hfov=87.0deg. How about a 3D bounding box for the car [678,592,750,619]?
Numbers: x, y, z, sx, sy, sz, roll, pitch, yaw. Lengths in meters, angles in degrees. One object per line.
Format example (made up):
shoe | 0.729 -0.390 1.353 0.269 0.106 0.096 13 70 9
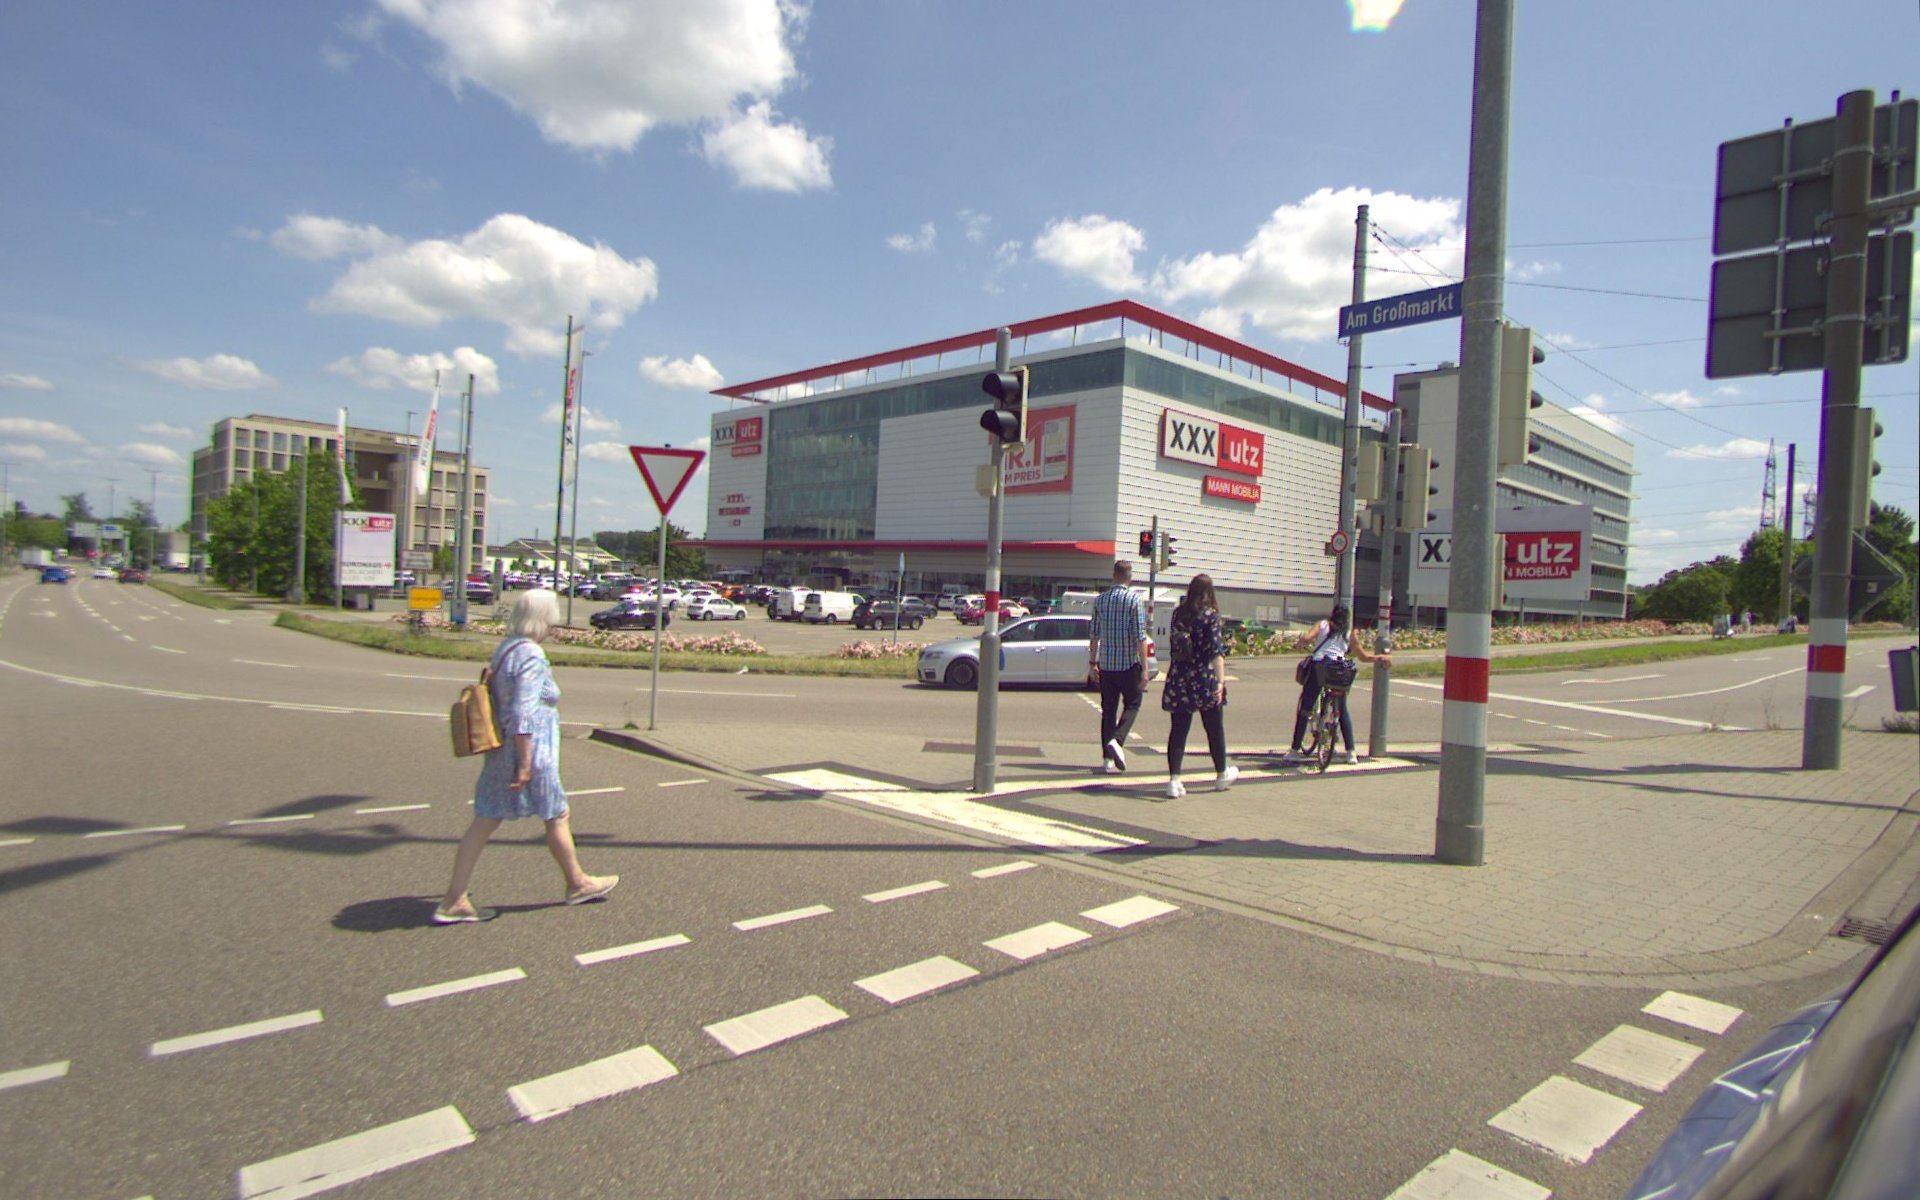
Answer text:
car | -15.184 0.369 62.543 1.847 1.566 3.939 1 0 42

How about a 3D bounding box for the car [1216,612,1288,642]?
car | 16.899 1.544 58.507 4.443 1.583 1.996 1 0 -43

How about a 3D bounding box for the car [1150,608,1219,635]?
car | 13.939 1.331 62.693 4.442 1.574 1.996 1 0 -43

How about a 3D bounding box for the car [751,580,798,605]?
car | -15.594 -0.643 85.181 3.542 2.039 1.722 1 0 -42

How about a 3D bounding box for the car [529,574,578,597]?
car | -37.996 -1.348 94.612 3.932 2.039 1.543 2 0 -43

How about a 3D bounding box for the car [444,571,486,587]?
car | -55.881 -2.374 114.178 3.932 1.750 1.734 1 0 -43

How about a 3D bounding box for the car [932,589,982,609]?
car | -0.271 -0.101 91.645 4.445 1.714 1.995 1 0 -45

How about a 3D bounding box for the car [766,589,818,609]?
car | -13.856 -0.078 83.461 3.933 1.546 1.690 1 0 -44

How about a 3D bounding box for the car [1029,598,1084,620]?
car | 7.968 0.751 83.202 4.442 1.714 1.996 1 0 -43

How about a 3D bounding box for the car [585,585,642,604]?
car | -29.348 -0.469 85.715 4.181 1.430 1.858 1 0 -41

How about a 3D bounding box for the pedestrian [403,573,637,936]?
pedestrian | -2.014 0.637 4.666 0.588 1.495 0.794 0 -1 41

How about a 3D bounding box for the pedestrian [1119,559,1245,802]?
pedestrian | 1.763 0.584 7.966 0.797 1.782 0.791 1 0 24

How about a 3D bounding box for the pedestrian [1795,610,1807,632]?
pedestrian | 63.708 1.572 76.674 0.623 1.676 0.598 2 0 -44

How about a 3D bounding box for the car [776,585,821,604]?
car | -14.789 -0.488 92.699 3.667 1.622 1.691 2 0 -44

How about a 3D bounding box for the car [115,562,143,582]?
car | -85.233 -2.878 103.788 1.966 2.039 3.992 2 0 -43

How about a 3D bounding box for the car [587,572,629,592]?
car | -38.542 -1.954 110.823 3.930 2.039 1.997 1 0 -41

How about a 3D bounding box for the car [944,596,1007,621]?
car | 1.152 0.646 74.422 4.442 1.756 1.996 1 0 -43

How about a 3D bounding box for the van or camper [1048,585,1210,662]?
van or camper | 7.330 0.940 43.202 7.482 2.983 2.713 1 0 -42

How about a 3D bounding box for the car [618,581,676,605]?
car | -25.454 -0.559 82.305 4.097 1.723 1.852 2 0 -41

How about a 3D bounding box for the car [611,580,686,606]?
car | -22.237 -0.462 72.299 4.783 1.723 1.852 1 0 -40

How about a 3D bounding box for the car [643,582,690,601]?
car | -29.075 -0.818 100.329 4.098 1.723 1.852 1 0 -41

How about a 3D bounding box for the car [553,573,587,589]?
car | -45.447 -2.185 117.920 3.322 1.828 1.700 1 0 -42

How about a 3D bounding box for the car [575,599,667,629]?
car | -16.808 0.679 50.256 3.876 1.393 1.850 1 0 -43

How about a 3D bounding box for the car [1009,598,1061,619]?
car | 6.405 0.725 86.069 4.445 1.714 1.995 1 0 -45

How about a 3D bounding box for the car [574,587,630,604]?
car | -31.068 -0.376 87.801 4.181 1.430 1.858 1 0 -41

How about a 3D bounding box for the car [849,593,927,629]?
car | -4.125 0.646 58.453 4.409 1.936 1.589 2 0 -41

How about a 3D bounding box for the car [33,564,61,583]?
car | -79.261 -2.306 87.807 1.731 1.632 3.541 2 0 -43

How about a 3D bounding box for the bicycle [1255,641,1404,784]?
bicycle | 3.554 1.033 9.926 0.816 1.177 1.877 2 0 3

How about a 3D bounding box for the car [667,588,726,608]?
car | -20.188 -0.129 77.512 3.928 1.457 1.852 1 0 -40

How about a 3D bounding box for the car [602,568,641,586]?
car | -40.901 -2.819 122.403 3.934 2.039 1.995 1 0 -44

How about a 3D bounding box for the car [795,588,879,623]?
car | -7.557 0.336 62.266 4.880 2.039 1.996 1 0 -42

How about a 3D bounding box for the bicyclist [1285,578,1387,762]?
bicyclist | 3.752 0.655 10.079 0.810 1.722 0.790 1 -1 31

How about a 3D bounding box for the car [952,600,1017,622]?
car | 1.658 0.726 67.611 4.182 1.430 1.857 1 0 -42

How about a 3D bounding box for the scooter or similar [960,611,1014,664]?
scooter or similar | 0.673 0.946 25.559 1.252 1.307 0.481 1 0 -26

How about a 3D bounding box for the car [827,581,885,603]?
car | -8.647 -0.664 84.277 4.442 1.756 1.996 1 0 -43

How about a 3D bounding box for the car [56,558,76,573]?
car | -106.127 -4.065 120.117 1.731 1.632 3.541 2 0 -43

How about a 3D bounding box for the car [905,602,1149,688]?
car | 1.193 0.820 19.164 4.375 1.416 1.804 2 0 0

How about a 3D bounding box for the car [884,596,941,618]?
car | -3.404 0.527 73.378 3.931 1.545 1.648 1 0 -42

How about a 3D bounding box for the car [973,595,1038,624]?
car | 3.272 0.687 72.209 4.441 1.919 1.997 1 0 -42

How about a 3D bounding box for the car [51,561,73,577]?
car | -98.471 -3.399 110.990 1.731 1.632 3.541 2 0 -43

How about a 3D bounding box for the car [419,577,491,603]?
car | -35.073 -0.692 70.377 1.994 1.705 4.057 1 0 44

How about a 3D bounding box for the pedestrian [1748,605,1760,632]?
pedestrian | 53.556 1.266 68.272 0.623 1.816 0.517 2 0 -44

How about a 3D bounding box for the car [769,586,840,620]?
car | -9.772 0.185 63.760 3.931 2.039 1.996 1 0 -42

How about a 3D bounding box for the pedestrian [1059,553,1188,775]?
pedestrian | 1.476 0.545 9.167 0.783 1.888 0.805 2 0 -40

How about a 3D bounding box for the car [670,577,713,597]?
car | -28.183 -1.362 106.307 3.931 2.039 1.996 1 0 -42

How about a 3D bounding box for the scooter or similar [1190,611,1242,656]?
scooter or similar | 6.959 0.902 27.490 1.252 1.140 0.481 -2 0 -15

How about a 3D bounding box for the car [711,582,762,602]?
car | -20.024 -0.689 90.804 3.931 1.672 1.997 1 0 -42

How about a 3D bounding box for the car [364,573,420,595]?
car | -49.053 -1.380 87.453 3.928 1.705 1.998 1 0 -40

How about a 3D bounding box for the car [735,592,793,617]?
car | -12.703 0.317 65.709 1.689 1.479 3.345 2 0 44

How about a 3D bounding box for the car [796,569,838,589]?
car | -15.496 -2.218 109.534 4.212 2.039 1.848 1 0 -42
